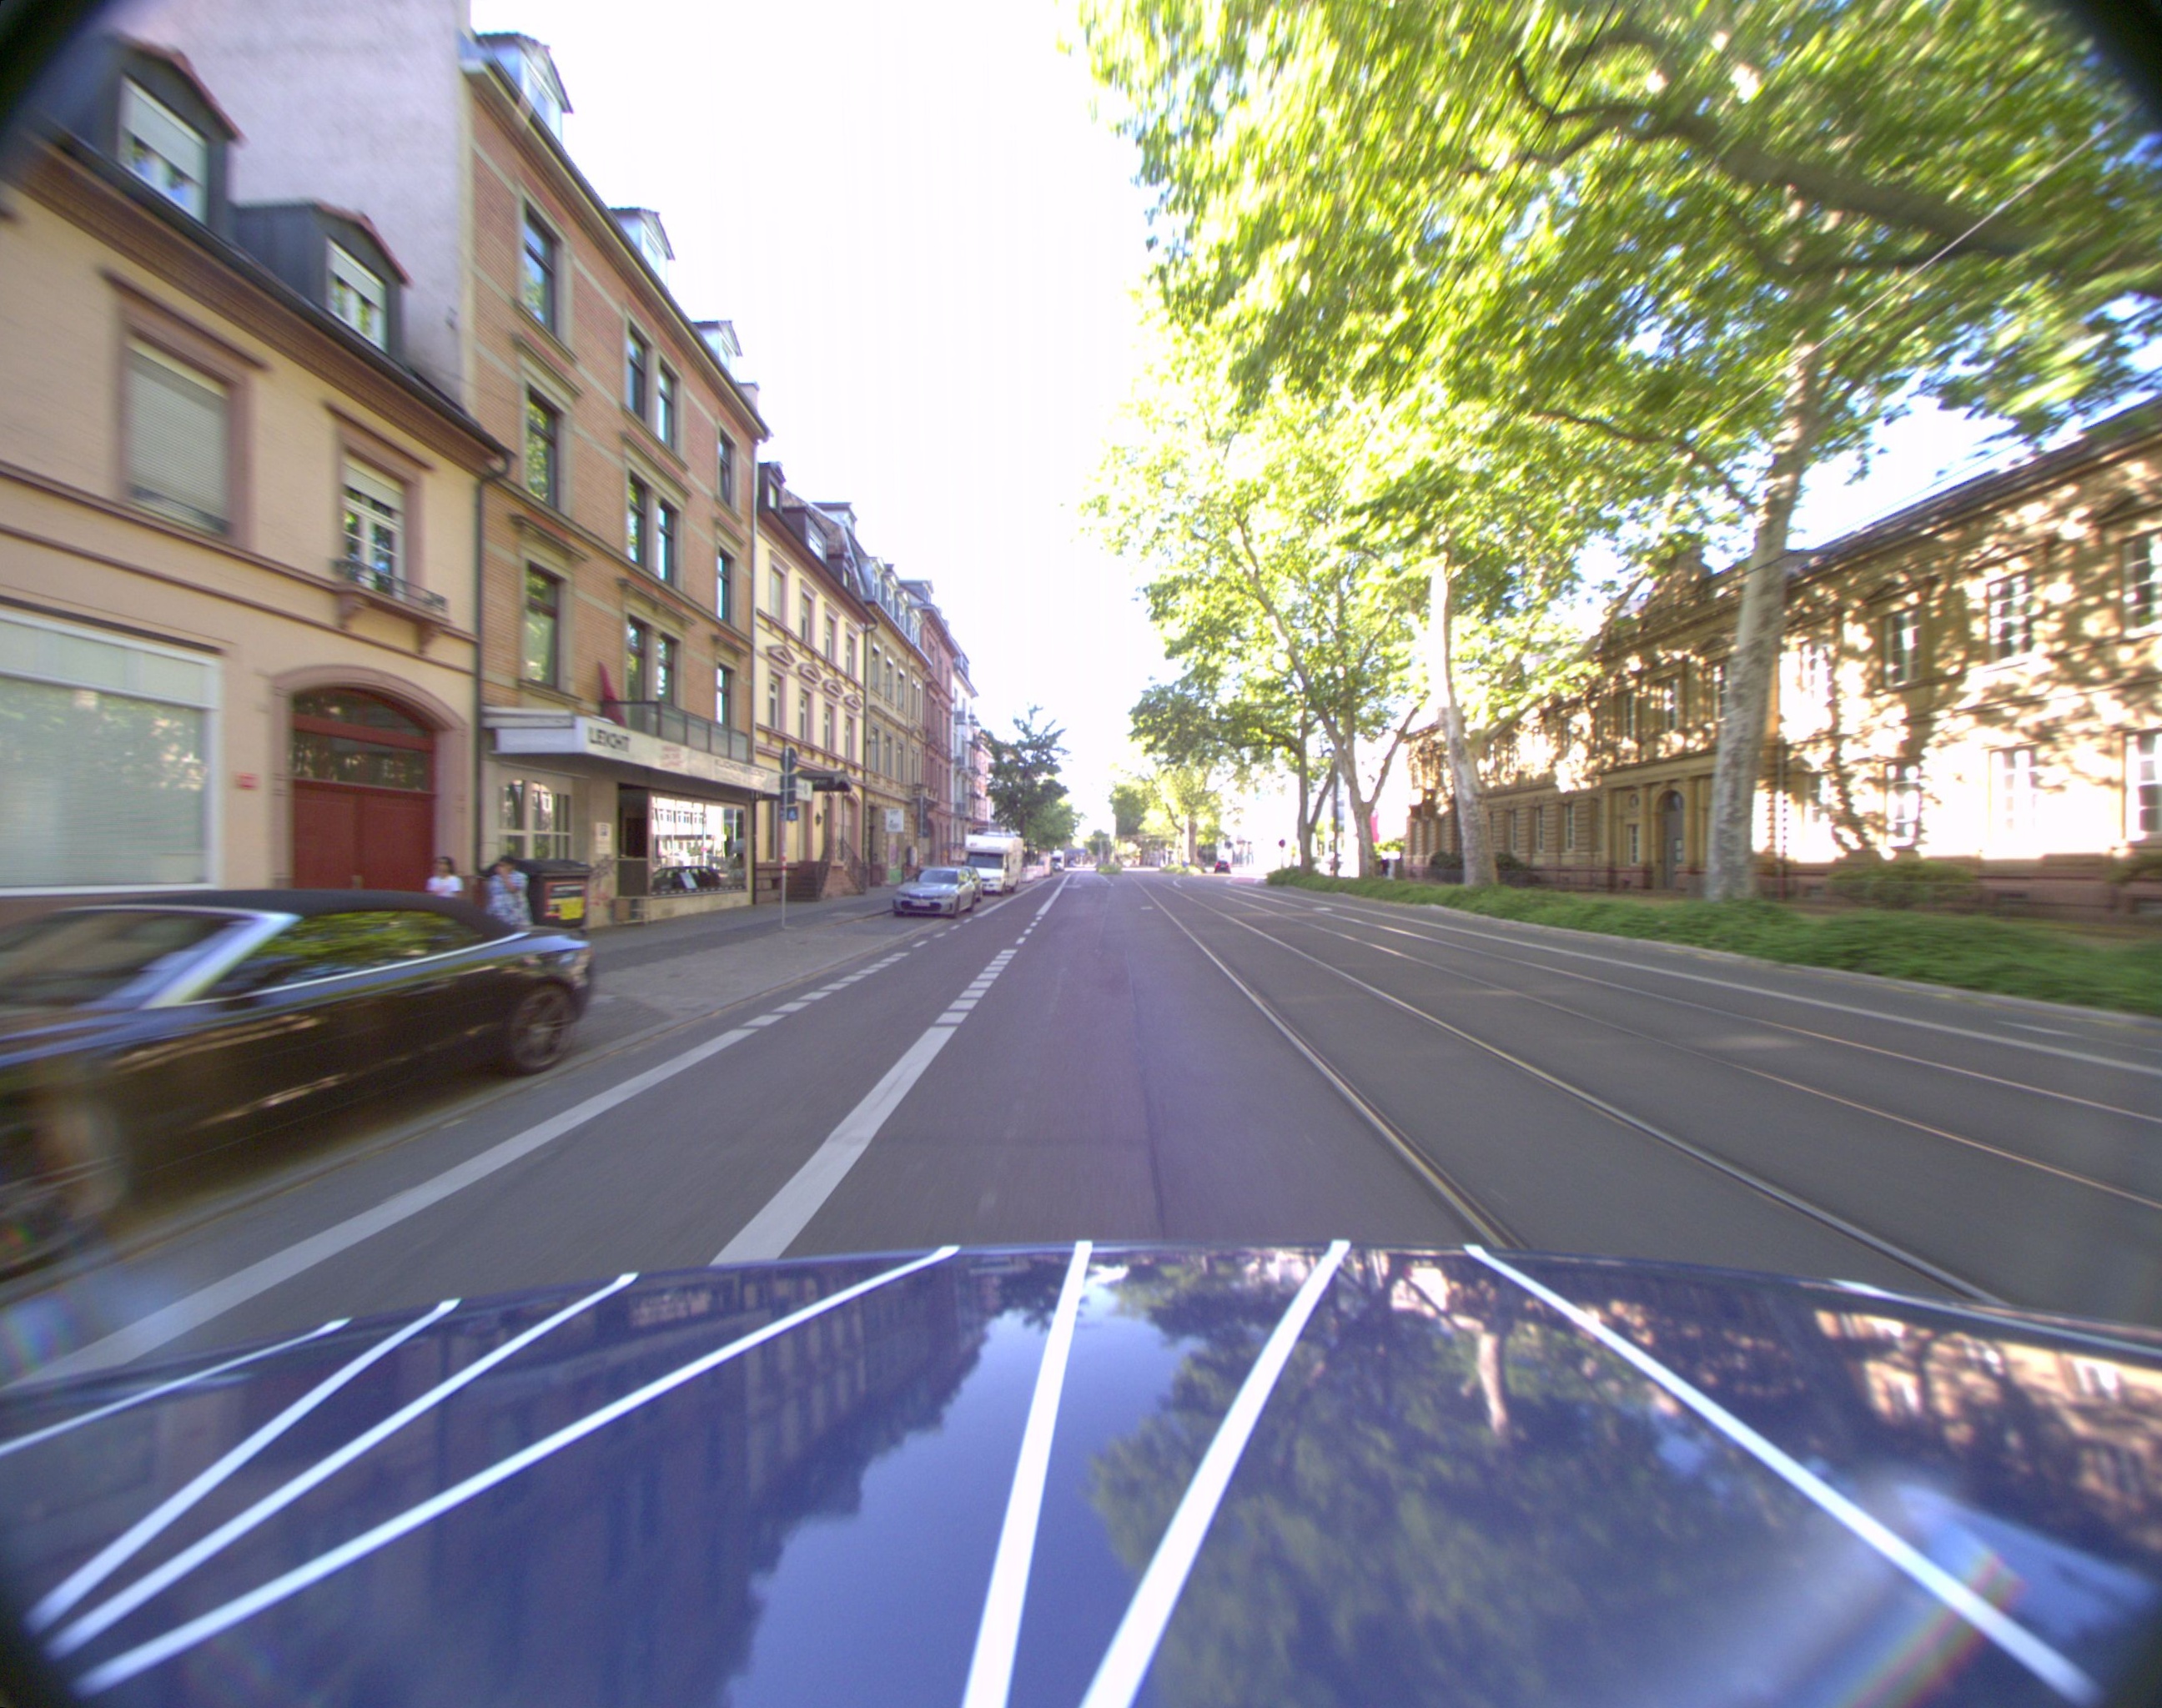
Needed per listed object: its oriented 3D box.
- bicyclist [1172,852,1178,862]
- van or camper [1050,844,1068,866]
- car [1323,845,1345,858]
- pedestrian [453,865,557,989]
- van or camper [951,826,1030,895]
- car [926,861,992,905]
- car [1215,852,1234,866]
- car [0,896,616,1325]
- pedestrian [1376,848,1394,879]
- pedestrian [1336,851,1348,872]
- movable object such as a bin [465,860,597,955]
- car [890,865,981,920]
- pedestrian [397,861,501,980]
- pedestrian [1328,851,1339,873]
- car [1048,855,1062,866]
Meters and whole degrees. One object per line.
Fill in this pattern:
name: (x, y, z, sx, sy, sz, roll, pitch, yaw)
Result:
bicyclist: (15.756, 0.490, 127.134, 1.007, 1.567, 0.760, -1, 1, 1)
van or camper: (-3.222, 0.098, 111.866, 2.172, 3.074, 7.290, 1, 0, 1)
car: (34.982, -0.365, 105.093, 1.852, 1.807, 4.000, -1, 0, 1)
pedestrian: (-7.377, 0.905, 9.770, 0.662, 1.496, 0.866, 1, 1, 0)
van or camper: (-4.300, 0.280, 37.679, 2.483, 2.955, 7.885, 3, 0, 3)
car: (-4.558, 1.064, 28.978, 1.648, 1.426, 4.029, 3, 0, 3)
car: (16.766, 0.563, 88.700, 1.870, 1.620, 4.563, 0, 0, 7)
car: (-4.853, 1.066, 4.157, 1.698, 1.384, 4.495, 1, 0, 3)
pedestrian: (17.919, 0.555, 44.773, 0.721, 1.838, 0.837, -1, 1, -1)
pedestrian: (20.532, 0.593, 59.828, 0.673, 1.687, 0.661, -1, 1, -6)
movable object such as a bin: (-9.389, 0.881, 13.049, 1.296, 1.511, 1.286, -1, 1, 1)
car: (-4.349, 1.108, 23.419, 1.814, 1.426, 4.665, 1, 0, 1)
pedestrian: (-8.212, 0.834, 9.905, 0.659, 1.474, 0.785, -1, 1, 0)
pedestrian: (19.851, 0.609, 59.754, 0.636, 1.687, 0.656, -1, 1, -6)
car: (-3.451, 0.910, 101.511, 1.656, 1.439, 3.800, 1, 0, 0)
